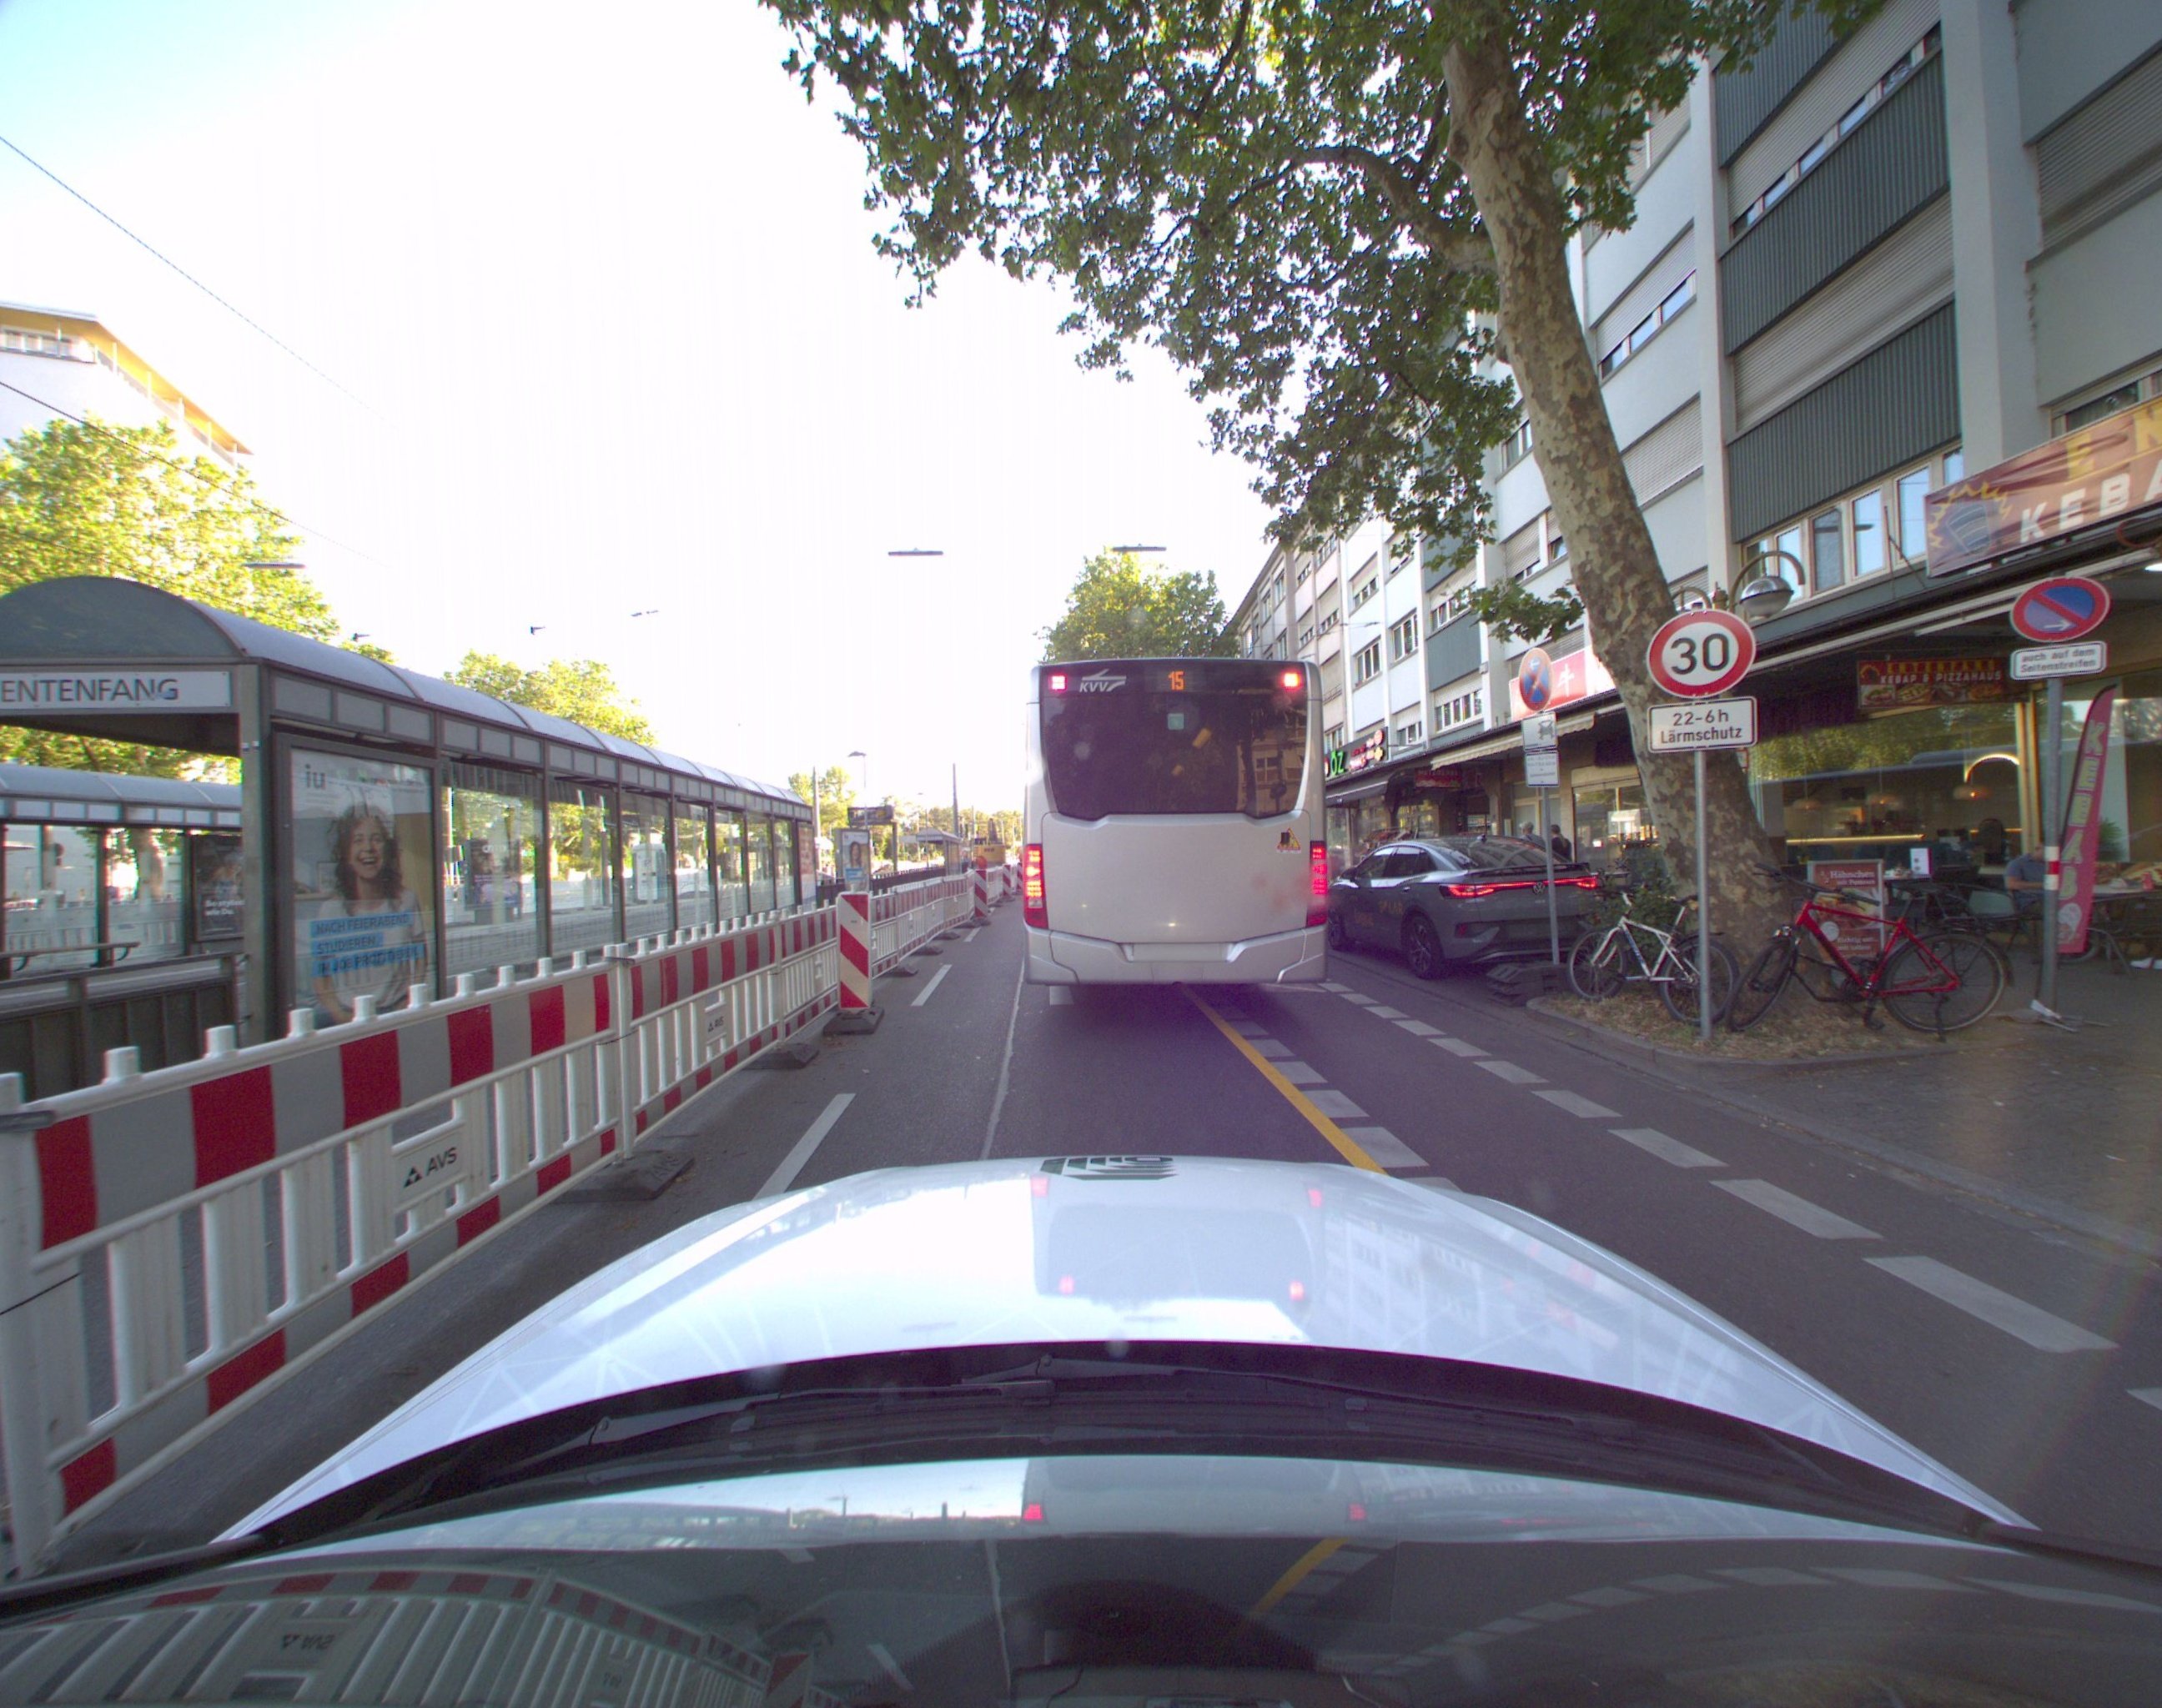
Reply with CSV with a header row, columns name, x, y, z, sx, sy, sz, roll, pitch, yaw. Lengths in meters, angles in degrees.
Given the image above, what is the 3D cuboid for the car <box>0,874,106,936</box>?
name,x,y,z,sx,sy,sz,roll,pitch,yaw
car,-30.514,1.428,22.478,1.891,1.667,4.579,0,0,-5

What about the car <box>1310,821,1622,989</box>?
name,x,y,z,sx,sy,sz,roll,pitch,yaw
car,4.568,0.525,10.511,1.736,1.597,4.294,-4,0,-3

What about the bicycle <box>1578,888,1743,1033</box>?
name,x,y,z,sx,sy,sz,roll,pitch,yaw
bicycle,4.473,0.781,6.361,0.294,0.927,1.127,-7,3,-8

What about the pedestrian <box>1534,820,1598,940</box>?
name,x,y,z,sx,sy,sz,roll,pitch,yaw
pedestrian,8.420,0.435,14.157,0.611,2.013,0.695,-2,-1,-4

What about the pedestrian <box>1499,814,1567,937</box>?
name,x,y,z,sx,sy,sz,roll,pitch,yaw
pedestrian,7.698,0.360,13.899,0.689,2.013,0.695,-2,-1,-5

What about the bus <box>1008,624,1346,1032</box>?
name,x,y,z,sx,sy,sz,roll,pitch,yaw
bus,0.927,-0.188,11.597,2.598,3.170,10.295,-1,0,2

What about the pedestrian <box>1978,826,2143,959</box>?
name,x,y,z,sx,sy,sz,roll,pitch,yaw
pedestrian,9.612,0.366,8.025,0.673,1.203,0.706,-5,-1,11

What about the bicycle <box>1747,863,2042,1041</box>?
name,x,y,z,sx,sy,sz,roll,pitch,yaw
bicycle,5.486,0.670,5.543,1.450,1.066,0.297,-6,3,13

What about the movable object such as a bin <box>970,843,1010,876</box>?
name,x,y,z,sx,sy,sz,roll,pitch,yaw
movable object such as a bin,-7.130,0.419,64.163,2.801,2.462,3.995,-2,0,-3

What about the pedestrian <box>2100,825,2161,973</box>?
name,x,y,z,sx,sy,sz,roll,pitch,yaw
pedestrian,9.551,0.373,6.988,0.612,1.243,0.714,-5,-1,10
